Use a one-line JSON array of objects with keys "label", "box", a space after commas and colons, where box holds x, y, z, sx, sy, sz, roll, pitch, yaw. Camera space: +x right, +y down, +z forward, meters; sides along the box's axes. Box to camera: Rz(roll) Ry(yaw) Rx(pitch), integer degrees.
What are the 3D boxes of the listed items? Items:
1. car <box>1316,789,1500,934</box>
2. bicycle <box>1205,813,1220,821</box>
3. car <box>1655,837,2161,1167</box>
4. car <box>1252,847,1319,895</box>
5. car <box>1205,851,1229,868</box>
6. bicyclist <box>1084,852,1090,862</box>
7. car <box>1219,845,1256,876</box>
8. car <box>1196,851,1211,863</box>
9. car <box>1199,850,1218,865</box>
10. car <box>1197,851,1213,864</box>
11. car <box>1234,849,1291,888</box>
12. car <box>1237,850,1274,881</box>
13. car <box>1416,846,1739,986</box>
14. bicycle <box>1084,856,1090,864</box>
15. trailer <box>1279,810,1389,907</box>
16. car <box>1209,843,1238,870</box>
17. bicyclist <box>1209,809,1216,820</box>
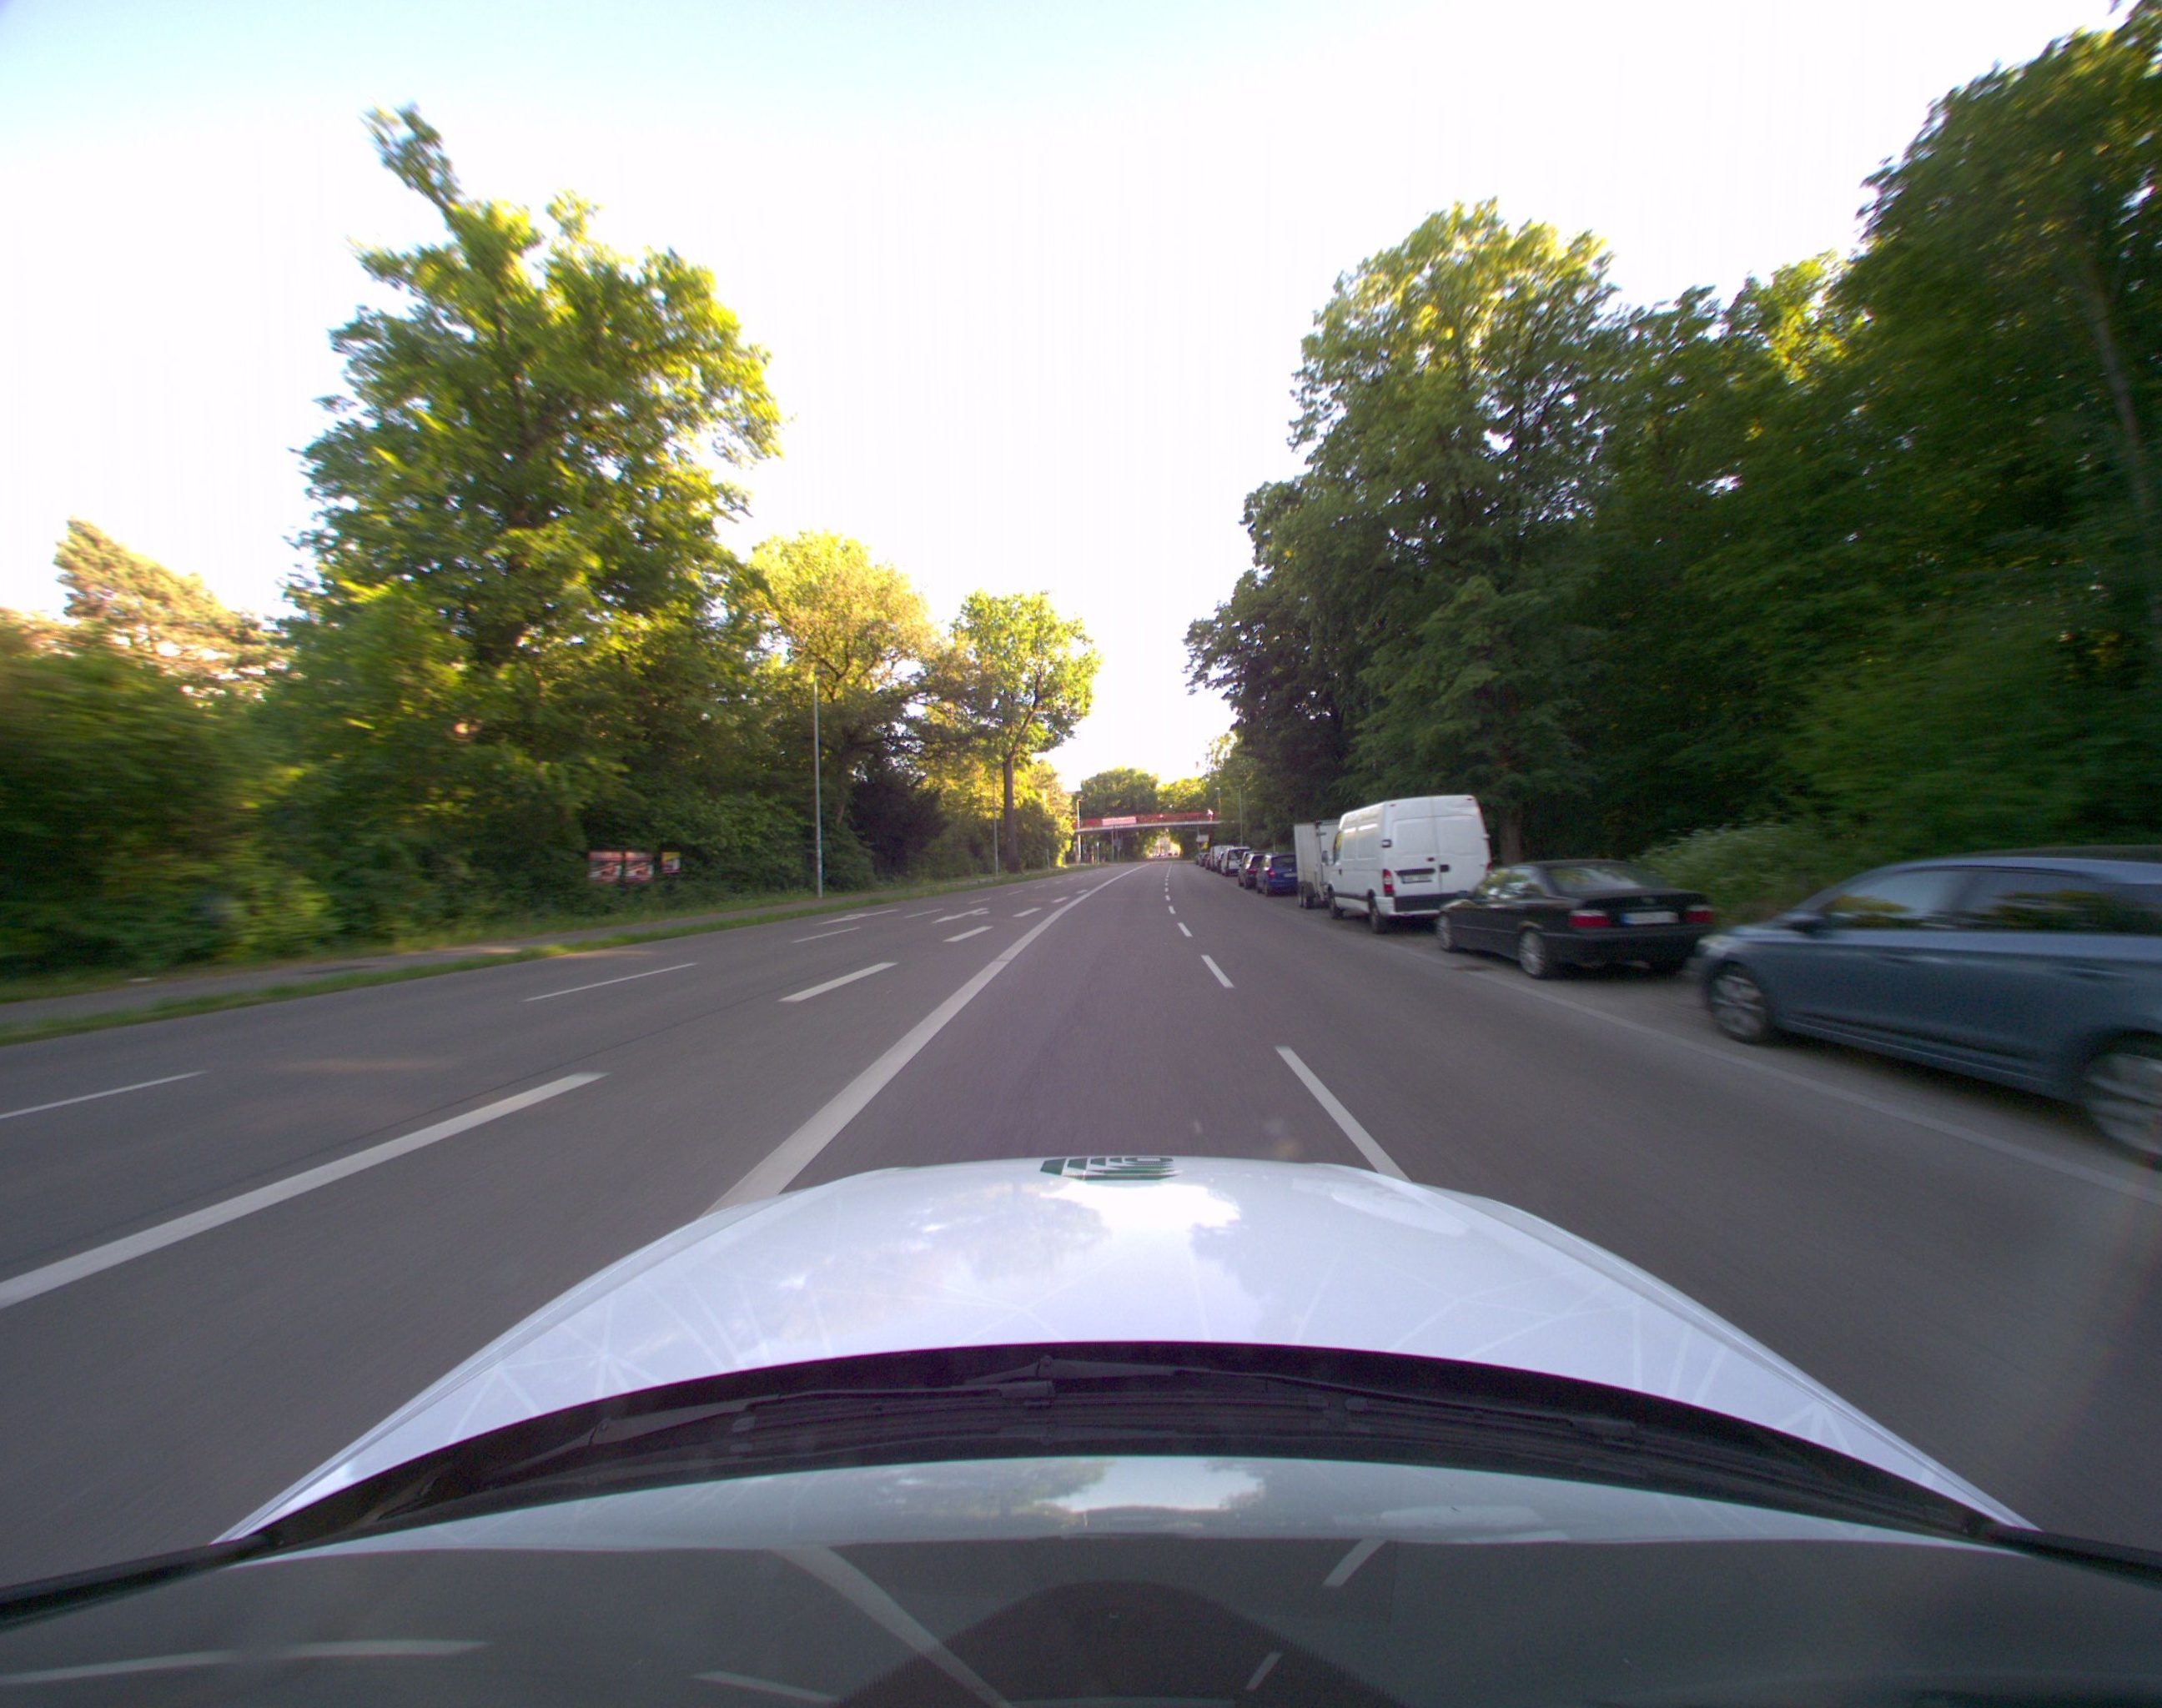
[{"label": "car", "box": [6.477, 0.147, 16.951, 1.895, 2.423, 5.583, -3, -1, 5]}, {"label": "bicycle", "box": [19.220, -5.402, 119.050, 1.978, 1.147, 0.715, -1, -1, 4]}, {"label": "car", "box": [5.824, 0.665, 5.137, 1.670, 1.464, 4.070, -3, -1, 3]}, {"label": "car", "box": [7.417, 0.593, 29.902, 1.669, 1.535, 4.359, -3, -1, 5]}, {"label": "car", "box": [11.882, 0.469, 71.279, 1.859, 1.406, 4.377, -3, -1, 7]}, {"label": "bicyclist", "box": [0.923, 0.470, 120.281, 0.708, 1.559, 1.144, -1, -1, 6]}, {"label": "car", "box": [9.965, 0.399, 52.096, 1.750, 1.804, 4.744, -3, -1, 5]}, {"label": "car", "box": [15.706, 0.374, 104.646, 1.765, 1.453, 4.396, -3, -1, 7]}, {"label": "car", "box": [13.702, 0.351, 87.394, 1.629, 1.453, 4.904, -3, -1, 5]}, {"label": "car", "box": [15.278, 0.398, 100.210, 1.764, 1.453, 4.024, -3, -1, 9]}, {"label": "car", "box": [7.873, 0.599, 35.662, 1.750, 1.535, 4.996, -3, -1, 5]}, {"label": "car", "box": [9.041, 0.584, 42.276, 1.577, 1.495, 3.187, -3, -1, 8]}, {"label": "car", "box": [6.159, 0.663, 10.879, 1.670, 1.400, 4.655, -3, -1, 4]}, {"label": "bicycle", "box": [0.923, 0.890, 120.275, 0.708, 1.147, 1.997, -1, -1, 6]}, {"label": "trailer", "box": [7.190, 0.131, 23.711, 1.895, 2.423, 5.133, -3, -1, 5]}, {"label": "car", "box": [11.291, 0.207, 64.703, 1.859, 1.981, 5.485, -3, -1, 7]}, {"label": "bicyclist", "box": [19.229, -5.775, 119.057, 0.966, 1.586, 0.715, -1, -1, 4]}]
